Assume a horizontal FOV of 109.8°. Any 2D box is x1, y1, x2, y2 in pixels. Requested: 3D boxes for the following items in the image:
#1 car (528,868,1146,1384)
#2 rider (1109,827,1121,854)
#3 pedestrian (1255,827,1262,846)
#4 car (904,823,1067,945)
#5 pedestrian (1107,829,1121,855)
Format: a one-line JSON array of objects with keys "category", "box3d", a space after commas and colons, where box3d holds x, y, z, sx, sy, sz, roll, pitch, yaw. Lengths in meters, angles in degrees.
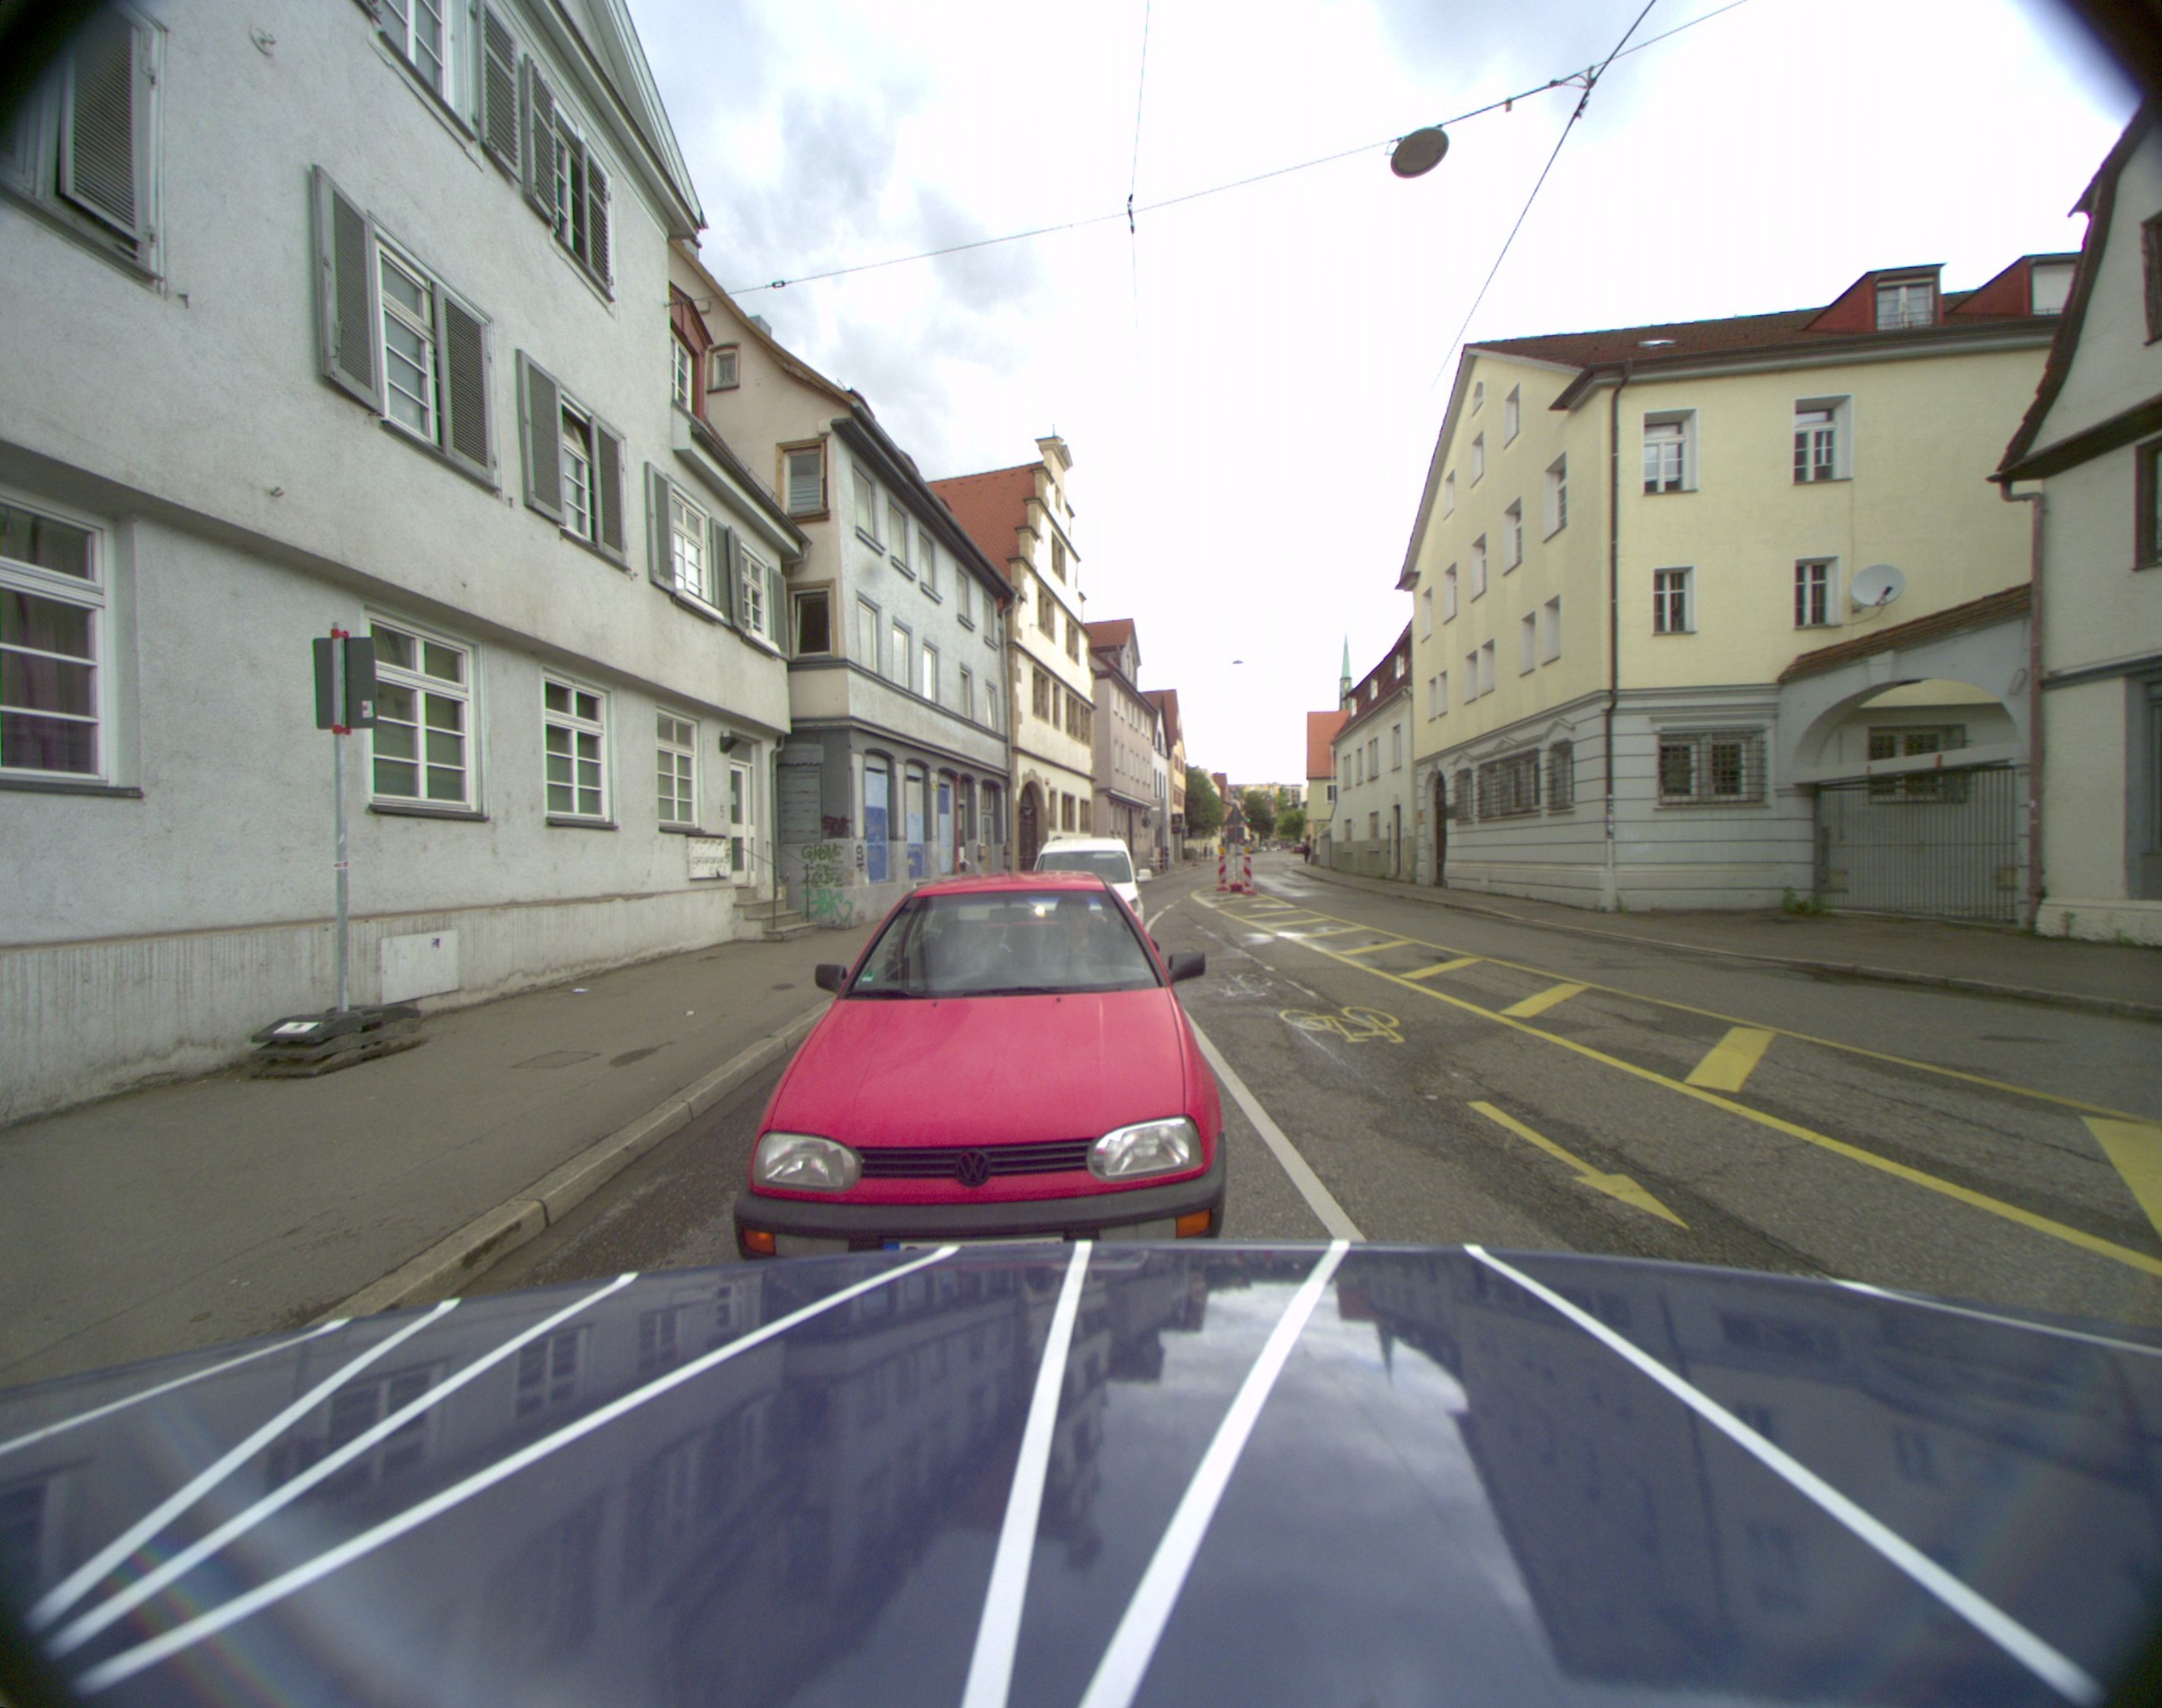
[{"category": "car", "box3d": [-0.739, 0.841, 4.250, 1.793, 1.417, 3.999, -1, 0, -1]}, {"category": "rider", "box3d": [2.313, -0.930, 51.730, 0.719, 1.837, 0.798, -1, 0, 5]}, {"category": "pedestrian", "box3d": [16.639, -1.637, 71.055, 0.592, 1.769, 0.505, 0, -1, 7]}, {"category": "car", "box3d": [-1.390, 0.430, 12.823, 1.814, 1.694, 4.258, 0, 0, 6]}, {"category": "pedestrian", "box3d": [2.061, -0.733, 47.099, 0.725, 1.604, 0.649, -1, 0, 13]}]
